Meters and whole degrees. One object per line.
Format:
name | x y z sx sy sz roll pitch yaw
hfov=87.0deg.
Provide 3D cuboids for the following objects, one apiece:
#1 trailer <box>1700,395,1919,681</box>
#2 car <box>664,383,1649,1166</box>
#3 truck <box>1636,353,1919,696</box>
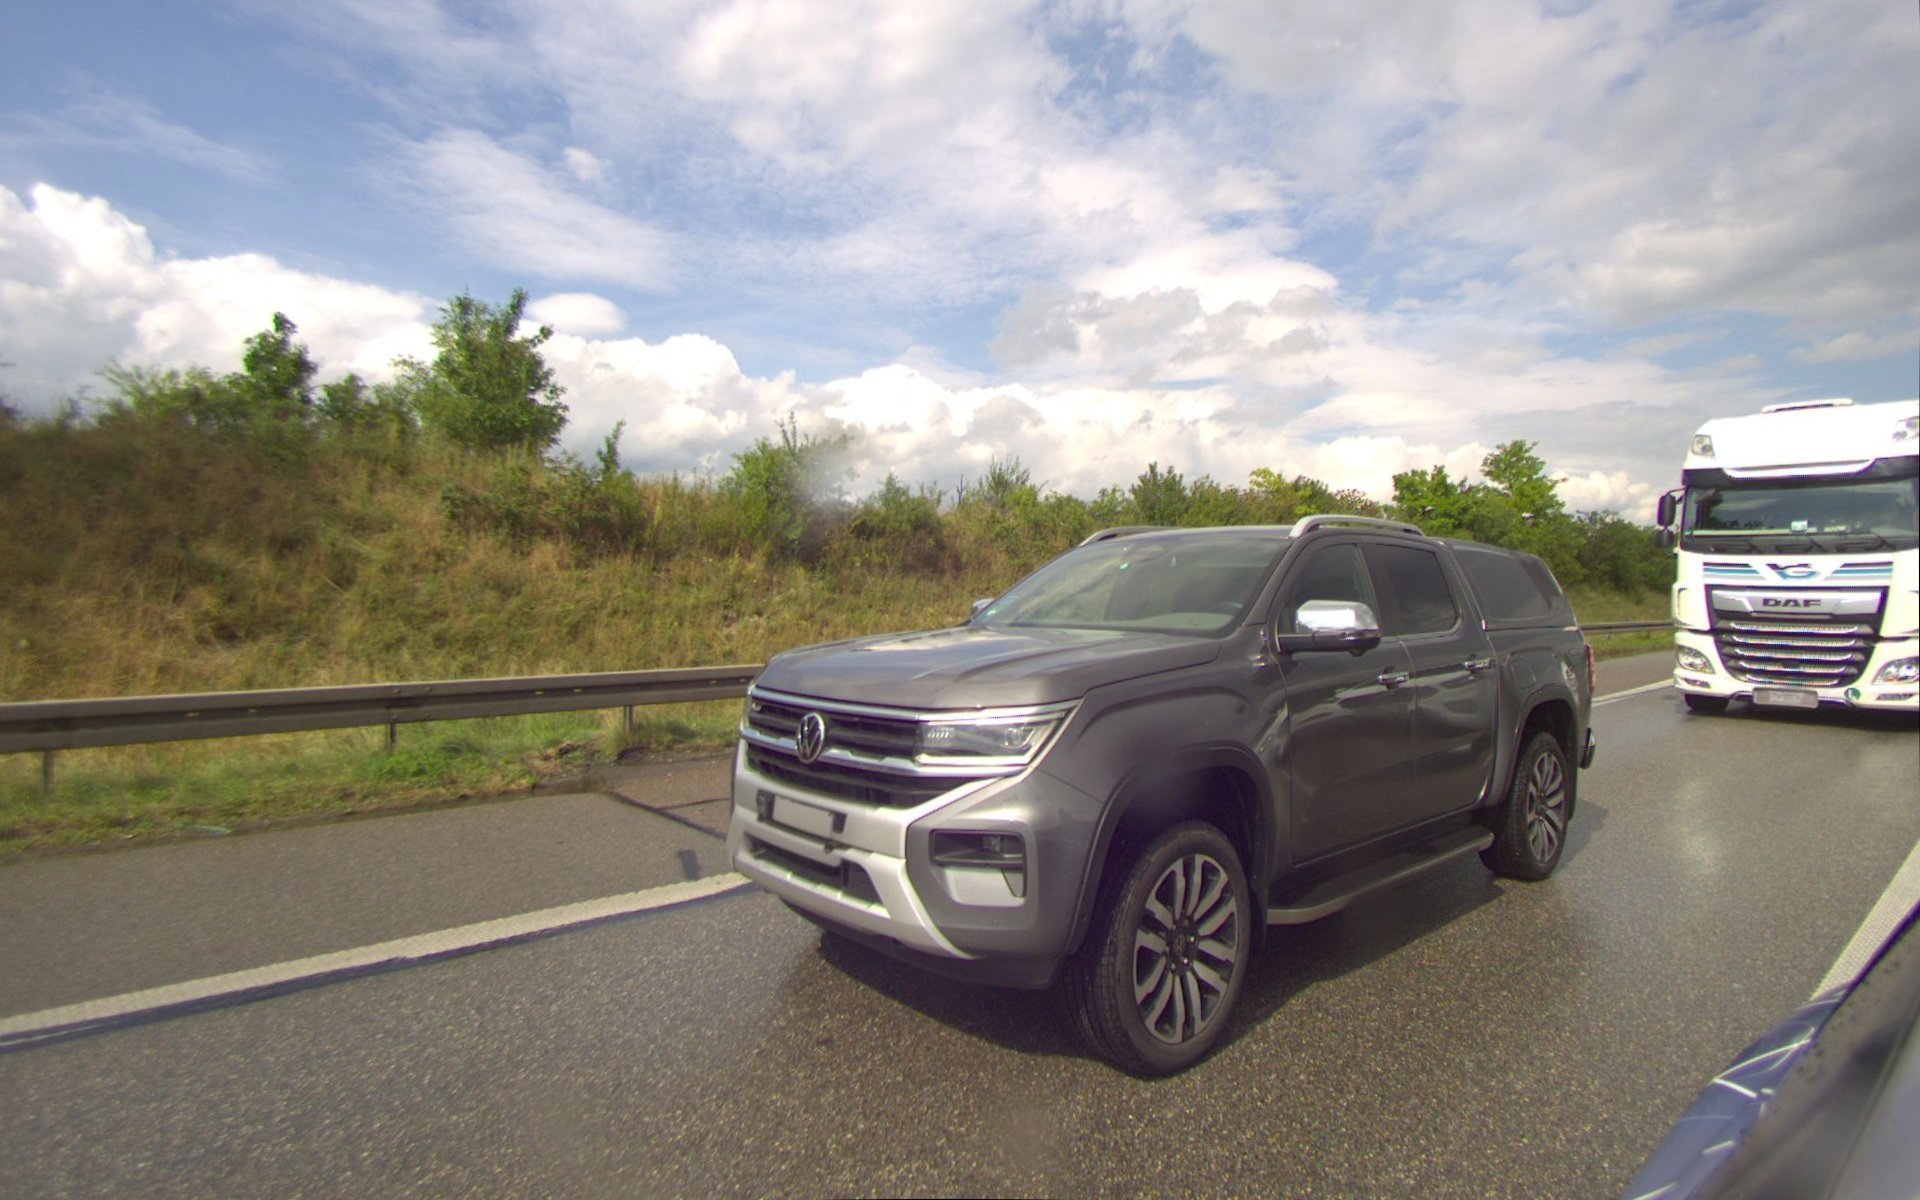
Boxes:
trailer | 17.804 -0.884 19.307 13.887 3.948 3.288 0 0 -43
car | 1.543 0.397 5.108 5.555 1.943 1.944 -1 0 -42
truck | 12.583 -0.875 14.596 6.287 3.940 3.288 0 0 -42
